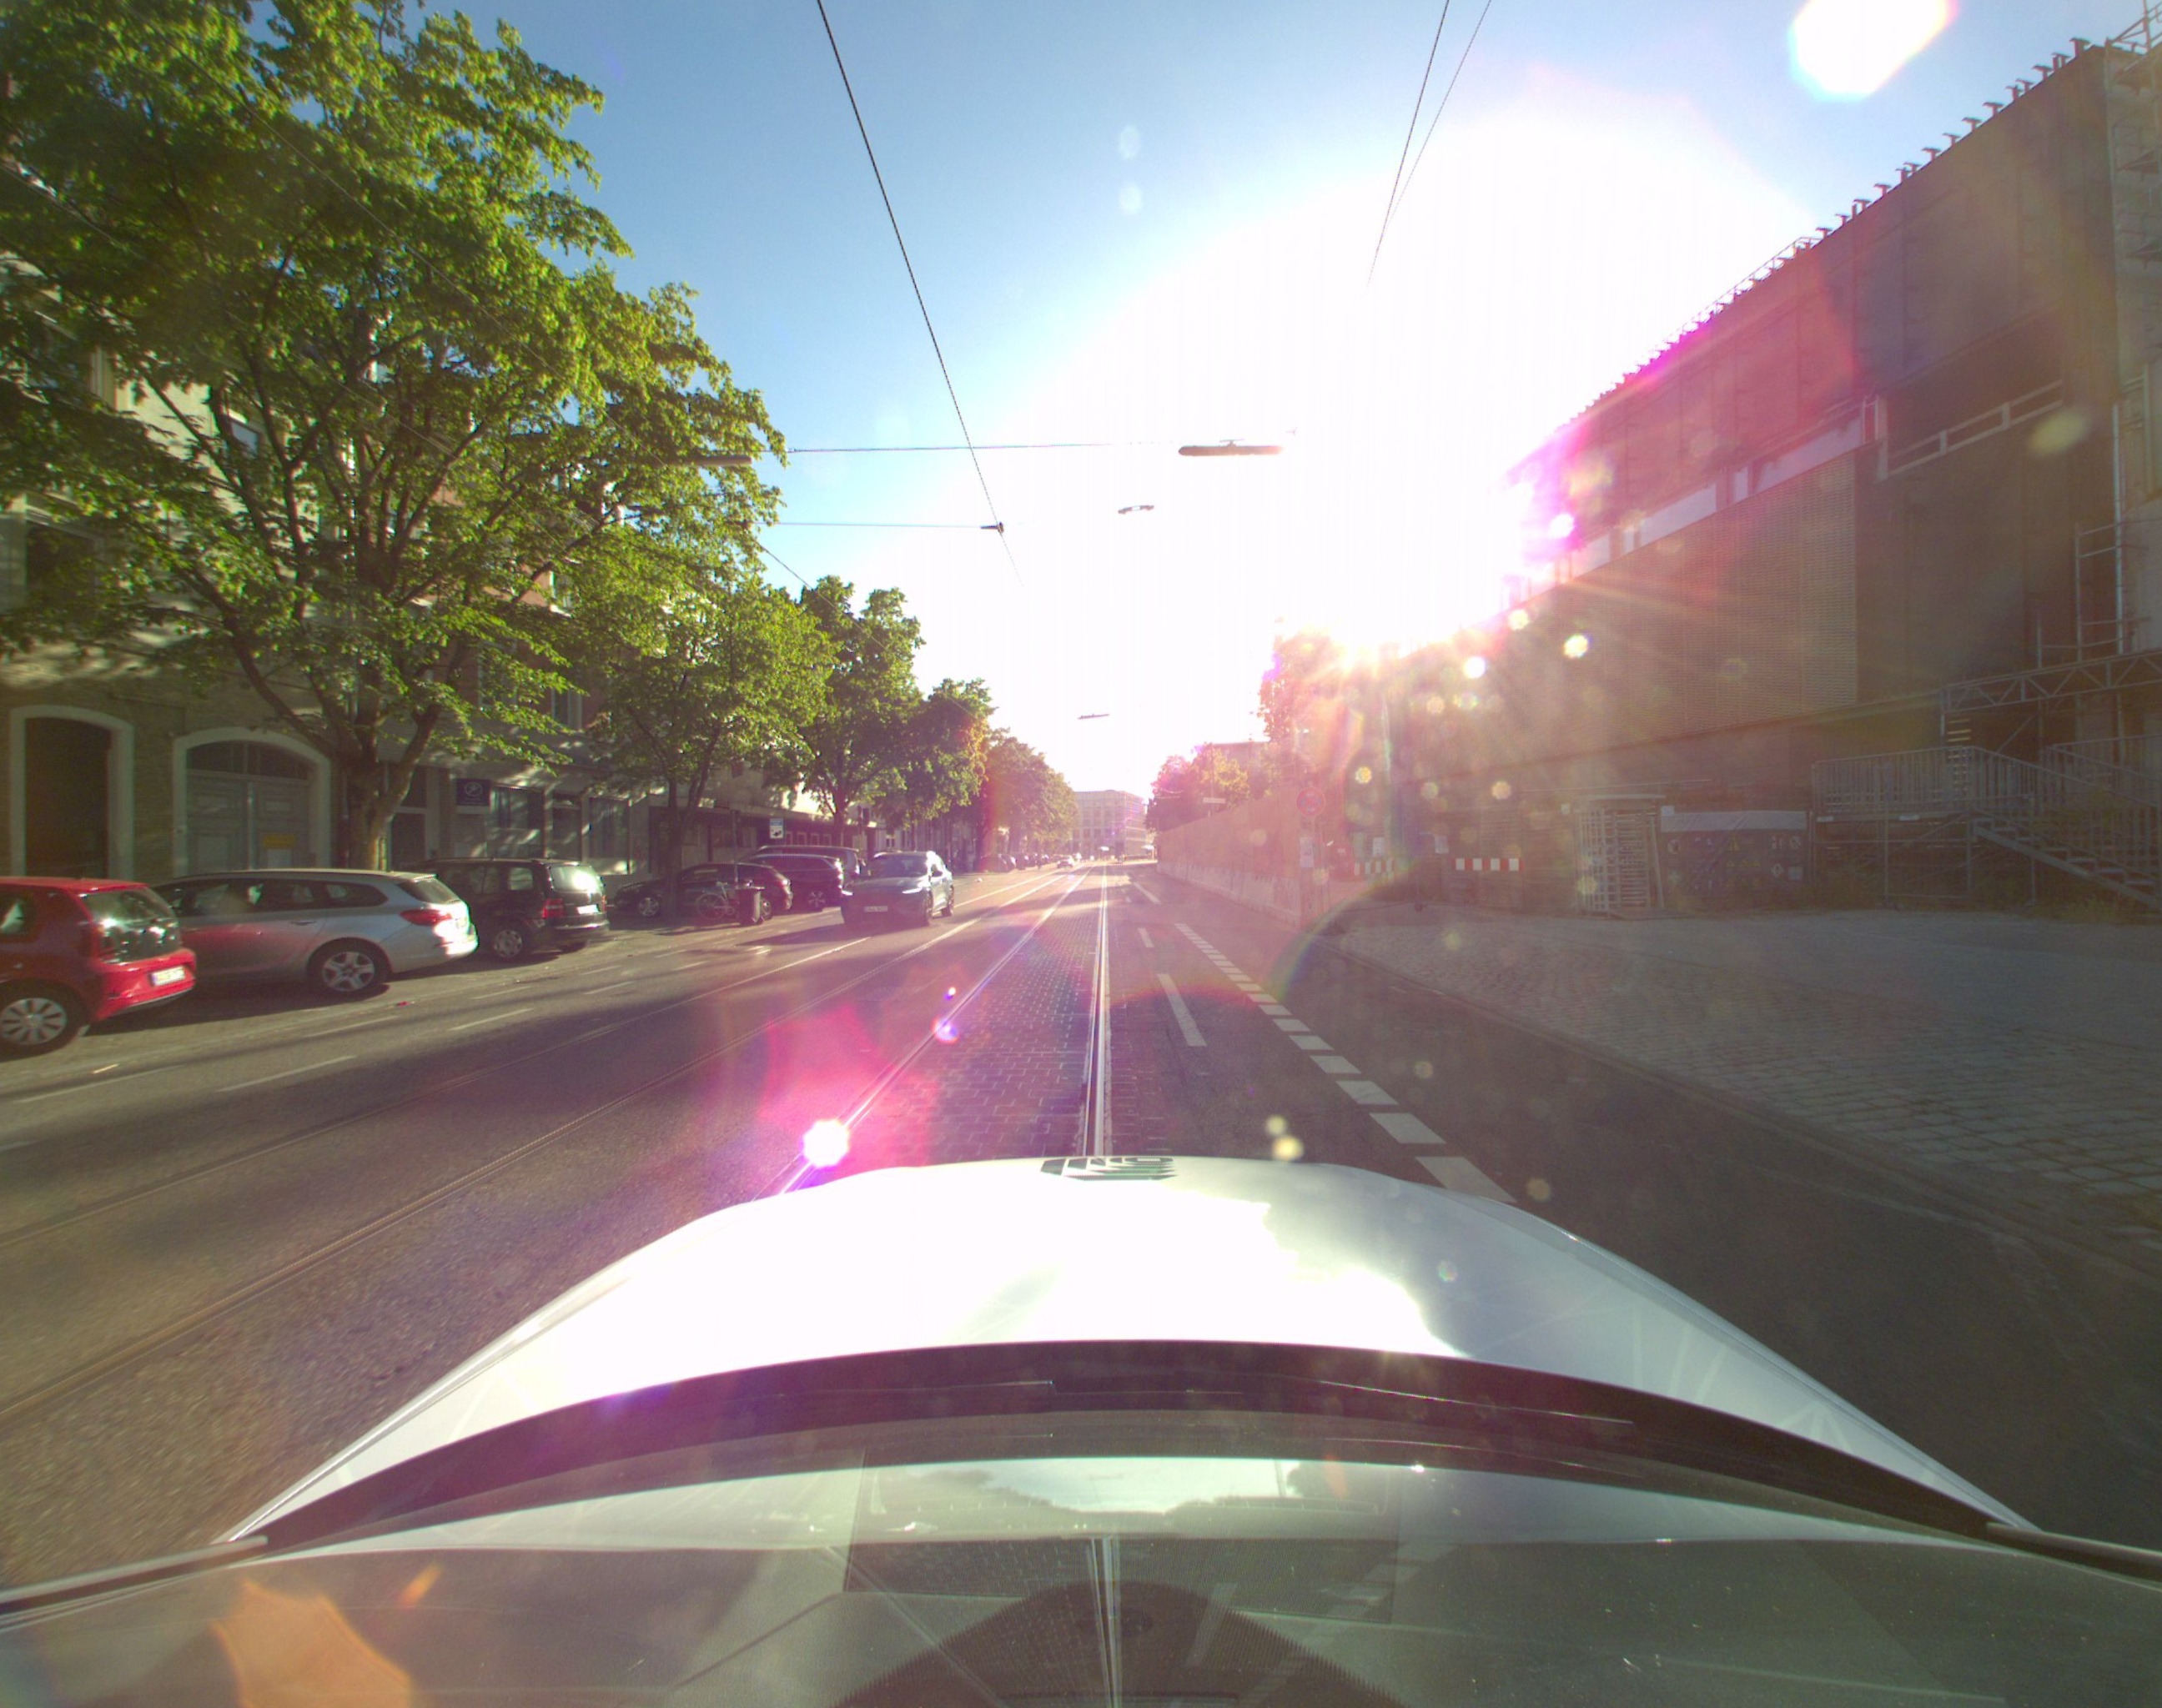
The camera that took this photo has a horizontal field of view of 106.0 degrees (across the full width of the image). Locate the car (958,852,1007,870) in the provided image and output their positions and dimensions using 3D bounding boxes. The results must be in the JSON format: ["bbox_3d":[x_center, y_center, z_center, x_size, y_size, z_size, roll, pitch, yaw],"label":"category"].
[{"bbox_3d":[-8.437,0.608,69.966,3.927,1.453,1.621,1,-1,-32],"label":"car"}]

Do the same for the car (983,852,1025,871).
[{"bbox_3d":[-7.390,0.688,78.287,3.700,1.721,1.594,-1,0,-34],"label":"car"}]

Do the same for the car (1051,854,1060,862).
[{"bbox_3d":[-4.899,0.838,157.535,1.567,1.490,4.002,-1,0,2],"label":"car"}]

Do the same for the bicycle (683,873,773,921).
[{"bbox_3d":[-8.698,1.058,20.133,1.970,1.144,0.490,1,-1,-17],"label":"bicycle"}]

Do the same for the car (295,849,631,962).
[{"bbox_3d":[-10.105,0.802,13.574,4.092,1.678,1.840,1,0,-1],"label":"car"}]

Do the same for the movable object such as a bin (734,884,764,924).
[{"bbox_3d":[-8.013,1.207,19.662,0.576,0.913,0.572,1,1,-14],"label":"movable object such as a bin"}]

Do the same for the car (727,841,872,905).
[{"bbox_3d":[-9.297,0.619,27.073,4.369,1.986,1.936,1,-1,-20],"label":"car"}]

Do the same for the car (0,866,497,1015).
[{"bbox_3d":[-9.968,0.931,10.107,4.124,1.512,1.826,1,0,-25],"label":"car"}]

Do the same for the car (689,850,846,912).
[{"bbox_3d":[-9.313,0.767,24.475,4.248,1.685,1.799,-1,0,-19],"label":"car"}]

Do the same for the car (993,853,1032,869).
[{"bbox_3d":[-7.684,0.812,91.362,4.181,1.721,1.570,-1,0,-26],"label":"car"}]

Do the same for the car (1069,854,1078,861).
[{"bbox_3d":[-1.719,0.775,186.027,1.550,1.530,4.007,-1,0,6],"label":"car"}]

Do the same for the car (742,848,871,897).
[{"bbox_3d":[-9.985,0.677,29.684,4.300,1.666,1.897,2,-1,-23],"label":"car"}]

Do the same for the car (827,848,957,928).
[{"bbox_3d":[-4.240,0.714,19.007,1.921,1.629,4.249,-1,0,1],"label":"car"}]

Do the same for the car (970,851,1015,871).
[{"bbox_3d":[-7.963,0.640,73.257,3.700,1.721,1.594,-1,0,-34],"label":"car"}]

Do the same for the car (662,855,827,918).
[{"bbox_3d":[-8.844,0.812,21.765,3.864,1.476,1.833,-2,0,-17],"label":"car"}]

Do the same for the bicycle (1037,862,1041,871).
[{"bbox_3d":[-4.278,1.224,82.825,0.448,0.881,1.899,-1,0,-3],"label":"bicycle"}]

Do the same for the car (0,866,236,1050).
[{"bbox_3d":[-10.165,0.875,7.182,3.380,1.493,1.599,1,0,-27],"label":"car"}]

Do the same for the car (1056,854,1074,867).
[{"bbox_3d":[-1.814,0.768,93.388,1.702,1.436,4.174,-1,0,3],"label":"car"}]

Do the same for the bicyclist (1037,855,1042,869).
[{"bbox_3d":[-4.215,0.795,82.831,0.456,1.378,0.640,-1,0,-3],"label":"bicyclist"}]
